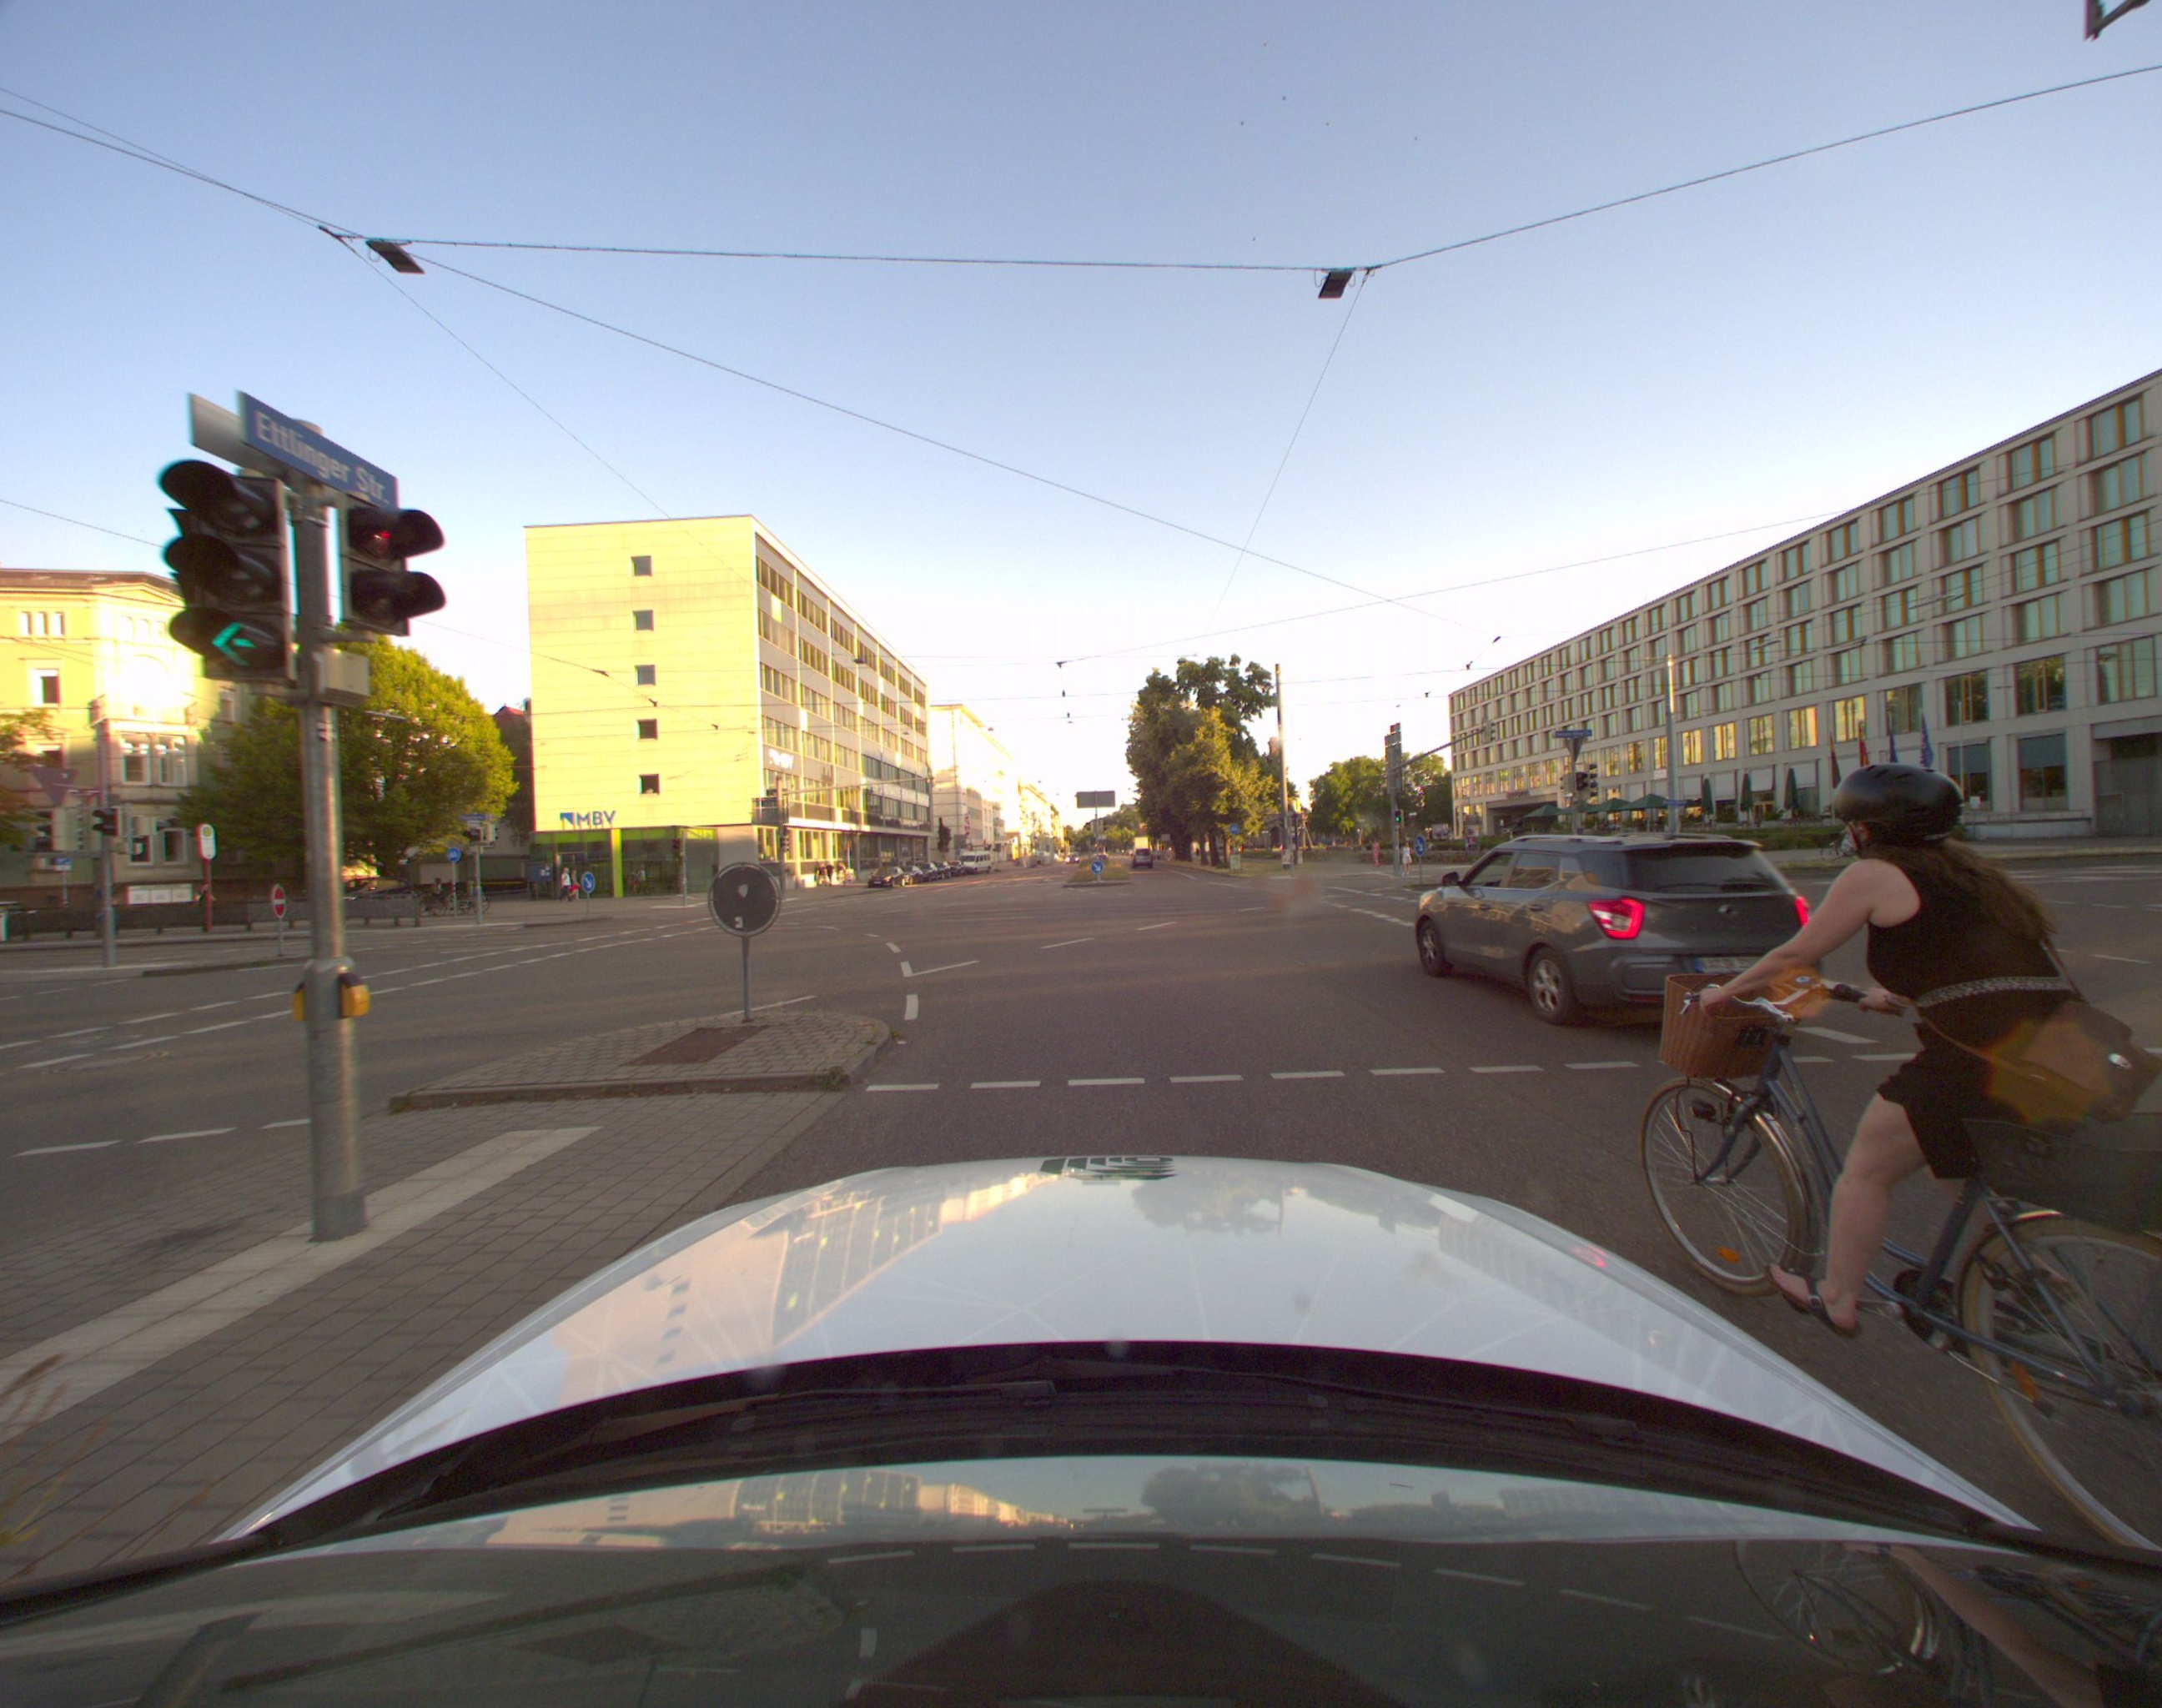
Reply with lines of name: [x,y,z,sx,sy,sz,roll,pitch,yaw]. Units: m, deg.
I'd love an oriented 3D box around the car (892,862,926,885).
car: [-13.529,1.503,64.220,1.686,1.665,3.870,1,0,2]

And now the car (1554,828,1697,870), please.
car: [23.211,-0.198,34.827,4.774,1.523,1.818,-3,-2,3]

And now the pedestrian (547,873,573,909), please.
pedestrian: [-26.219,1.866,40.987,0.730,1.768,0.709,-3,0,2]

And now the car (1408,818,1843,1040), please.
car: [4.836,0.553,8.062,1.686,1.605,4.092,-2,0,3]

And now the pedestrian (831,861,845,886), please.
pedestrian: [-17.972,1.446,60.189,0.737,1.768,0.672,-3,-1,-2]

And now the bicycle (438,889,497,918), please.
bicycle: [-26.089,2.099,34.681,0.735,1.074,1.875,-3,1,19]

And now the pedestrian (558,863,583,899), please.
pedestrian: [-26.172,1.377,41.726,0.741,1.768,0.709,-3,0,2]

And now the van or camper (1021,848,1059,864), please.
van or camper: [-6.512,0.329,130.167,5.541,2.166,2.224,-4,0,-28]

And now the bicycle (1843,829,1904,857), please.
bicycle: [31.740,-0.428,32.615,1.746,1.051,0.541,-3,0,7]

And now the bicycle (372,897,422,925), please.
bicycle: [-29.223,2.430,34.816,0.738,1.074,1.558,-2,0,4]

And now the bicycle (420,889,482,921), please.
bicycle: [-27.094,2.174,35.071,0.738,1.132,2.240,-2,1,4]

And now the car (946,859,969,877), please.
car: [-12.226,1.348,80.897,1.493,1.665,3.870,1,0,2]

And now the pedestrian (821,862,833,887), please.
pedestrian: [-18.726,1.508,60.104,0.651,1.768,0.645,-3,0,-2]

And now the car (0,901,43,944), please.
car: [-45.696,2.898,33.175,3.987,1.552,1.680,-3,3,-10]

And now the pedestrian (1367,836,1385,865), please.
pedestrian: [16.917,-0.196,46.729,0.717,1.626,0.743,-3,0,34]

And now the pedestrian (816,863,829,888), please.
pedestrian: [-18.810,1.540,59.268,0.651,1.768,0.645,-3,0,-2]

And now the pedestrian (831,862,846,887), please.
pedestrian: [-17.639,1.485,59.238,0.838,1.768,0.785,-3,0,-2]

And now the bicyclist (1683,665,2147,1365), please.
bicyclist: [2.220,0.372,2.245,0.607,1.635,0.596,-2,0,-4]

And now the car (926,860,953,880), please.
car: [-12.956,1.440,74.746,1.686,1.665,3.870,1,0,2]

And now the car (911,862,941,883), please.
car: [-13.187,1.563,69.501,1.686,1.665,3.870,1,0,2]

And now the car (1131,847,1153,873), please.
car: [5.535,0.548,74.550,1.876,2.238,3.914,-3,0,3]

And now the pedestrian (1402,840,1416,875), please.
pedestrian: [15.569,0.162,38.682,0.531,1.626,0.630,-3,0,19]

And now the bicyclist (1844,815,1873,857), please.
bicyclist: [31.197,-0.711,32.674,0.592,1.635,0.542,-3,0,8]

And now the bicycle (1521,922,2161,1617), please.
bicycle: [2.234,0.855,2.384,0.606,1.114,2.083,-2,0,-4]

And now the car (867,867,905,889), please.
car: [-13.861,1.714,58.033,1.686,1.411,3.870,1,0,2]

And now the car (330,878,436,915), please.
car: [-35.339,2.107,41.396,1.791,1.574,3.998,-3,0,2]

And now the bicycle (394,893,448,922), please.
bicycle: [-27.997,2.267,34.566,0.738,1.074,1.763,-2,0,4]

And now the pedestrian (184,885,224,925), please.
pedestrian: [-41.155,2.373,38.233,0.987,1.768,0.705,-2,0,-14]

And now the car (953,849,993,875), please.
car: [-11.521,0.815,87.422,2.222,2.629,5.873,1,0,13]

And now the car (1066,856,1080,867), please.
car: [-1.092,1.044,117.673,1.686,1.420,4.177,-3,0,3]
